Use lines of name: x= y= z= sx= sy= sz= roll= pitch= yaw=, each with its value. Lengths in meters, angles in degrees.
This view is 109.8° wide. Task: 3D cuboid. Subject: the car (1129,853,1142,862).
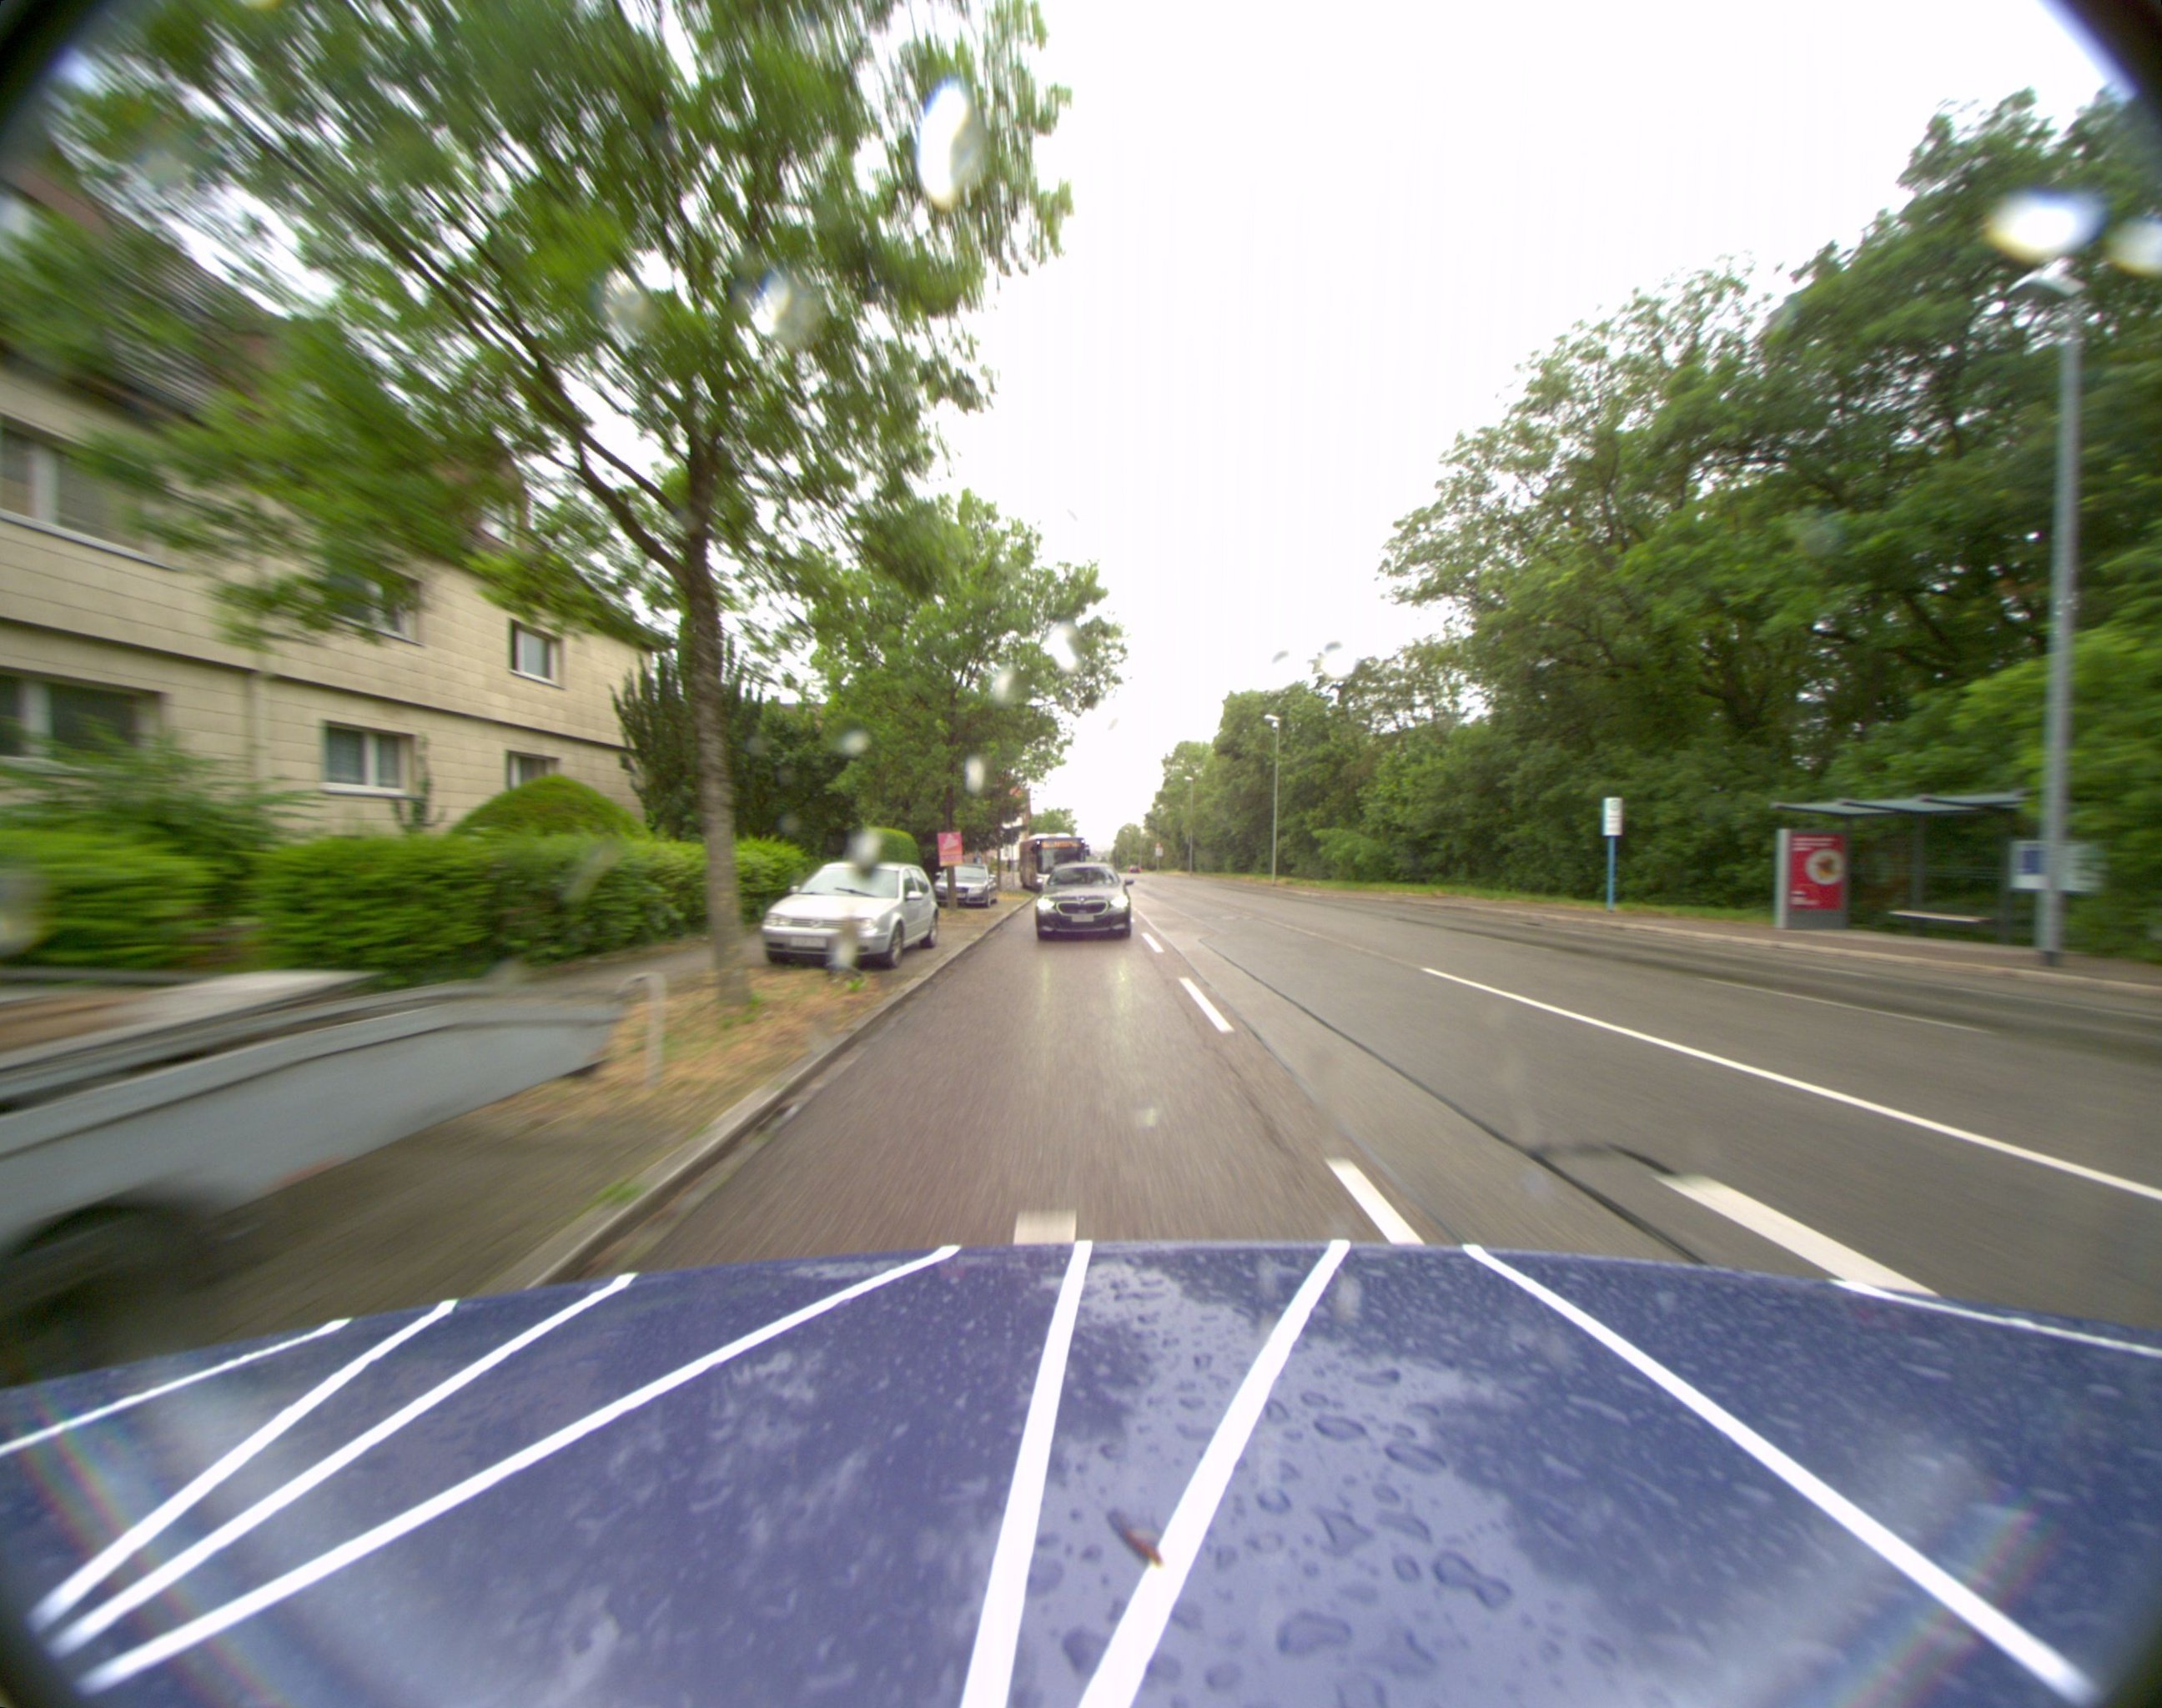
car: x=9.388 y=0.572 z=130.428 sx=1.748 sy=1.423 sz=4.388 roll=2 pitch=0 yaw=-1

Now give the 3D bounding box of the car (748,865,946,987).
car: x=-3.249 y=0.922 z=11.395 sx=1.605 sy=1.428 sz=4.022 roll=2 pitch=0 yaw=1

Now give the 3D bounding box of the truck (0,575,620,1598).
truck: x=-3.349 y=0.484 z=0.527 sx=2.085 sy=2.208 sz=6.500 roll=2 pitch=0 yaw=0

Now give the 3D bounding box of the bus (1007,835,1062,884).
bus: x=-3.194 y=0.342 z=50.326 sx=2.564 sy=2.942 sz=8.549 roll=-1 pitch=0 yaw=-10

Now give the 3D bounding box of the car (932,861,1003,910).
car: x=-3.637 y=0.957 z=25.084 sx=1.692 sy=1.381 sz=4.499 roll=1 pitch=0 yaw=0

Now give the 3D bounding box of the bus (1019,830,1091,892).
bus: x=-1.611 y=0.339 z=41.529 sx=2.565 sy=2.942 sz=9.441 roll=-1 pitch=0 yaw=-10

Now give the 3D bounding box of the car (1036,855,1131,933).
car: x=-0.007 y=0.800 z=17.367 sx=1.856 sy=1.461 sz=4.482 roll=-1 pitch=0 yaw=-2
